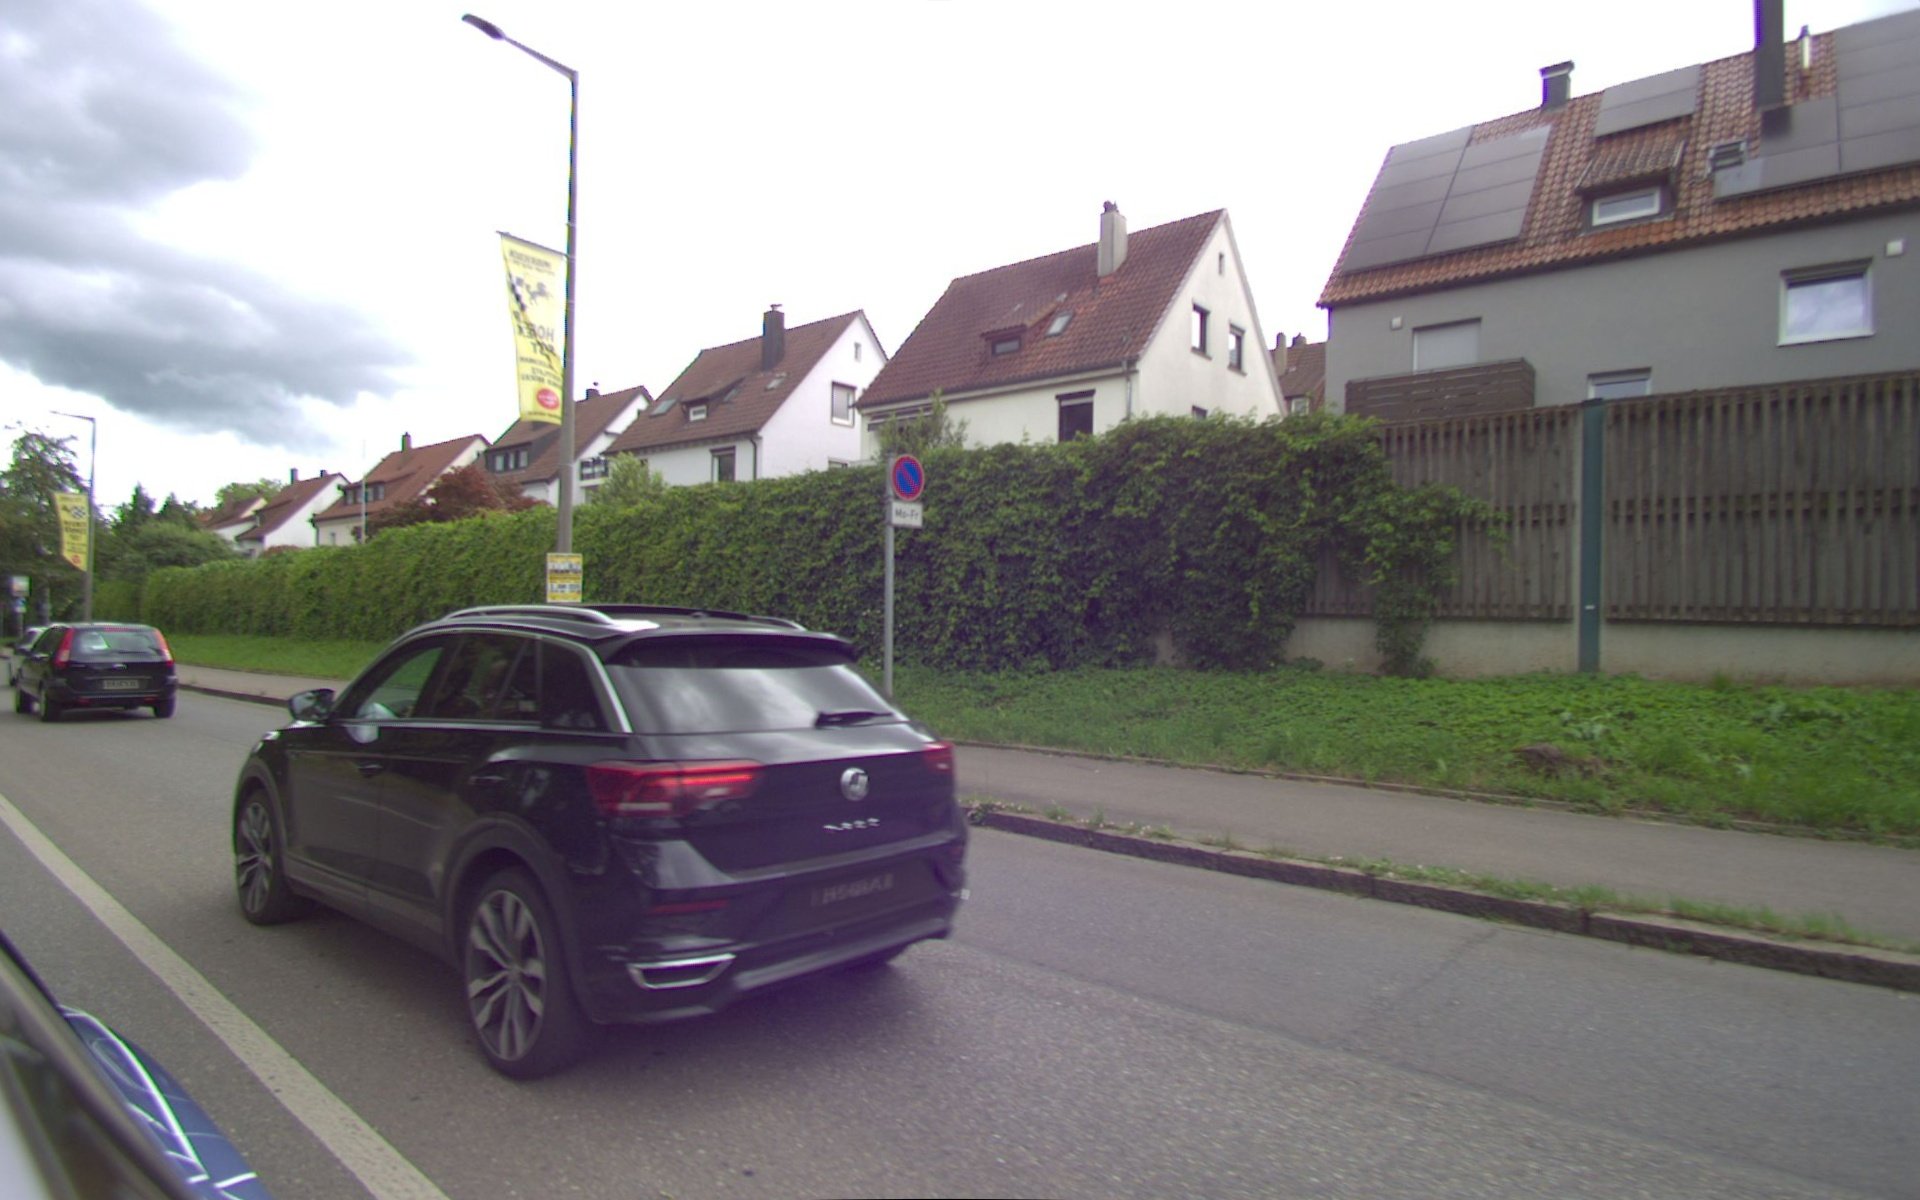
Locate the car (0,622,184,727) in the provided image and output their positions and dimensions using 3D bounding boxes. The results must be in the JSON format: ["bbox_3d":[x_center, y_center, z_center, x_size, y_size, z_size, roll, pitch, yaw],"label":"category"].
[{"bbox_3d":[-14.183,1.144,16.424,4.103,1.492,1.626,-1,-4,40],"label":"car"}]

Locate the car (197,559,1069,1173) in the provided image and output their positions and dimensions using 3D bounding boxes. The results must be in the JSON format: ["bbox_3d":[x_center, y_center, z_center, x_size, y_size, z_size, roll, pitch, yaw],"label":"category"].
[{"bbox_3d":[-1.745,0.738,4.593,4.173,1.536,1.794,-1,-3,40],"label":"car"}]

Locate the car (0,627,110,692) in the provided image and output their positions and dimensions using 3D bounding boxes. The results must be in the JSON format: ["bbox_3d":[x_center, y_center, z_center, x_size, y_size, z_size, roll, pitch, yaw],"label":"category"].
[{"bbox_3d":[-22.448,1.451,24.992,4.070,1.472,1.601,-1,-5,42],"label":"car"}]
